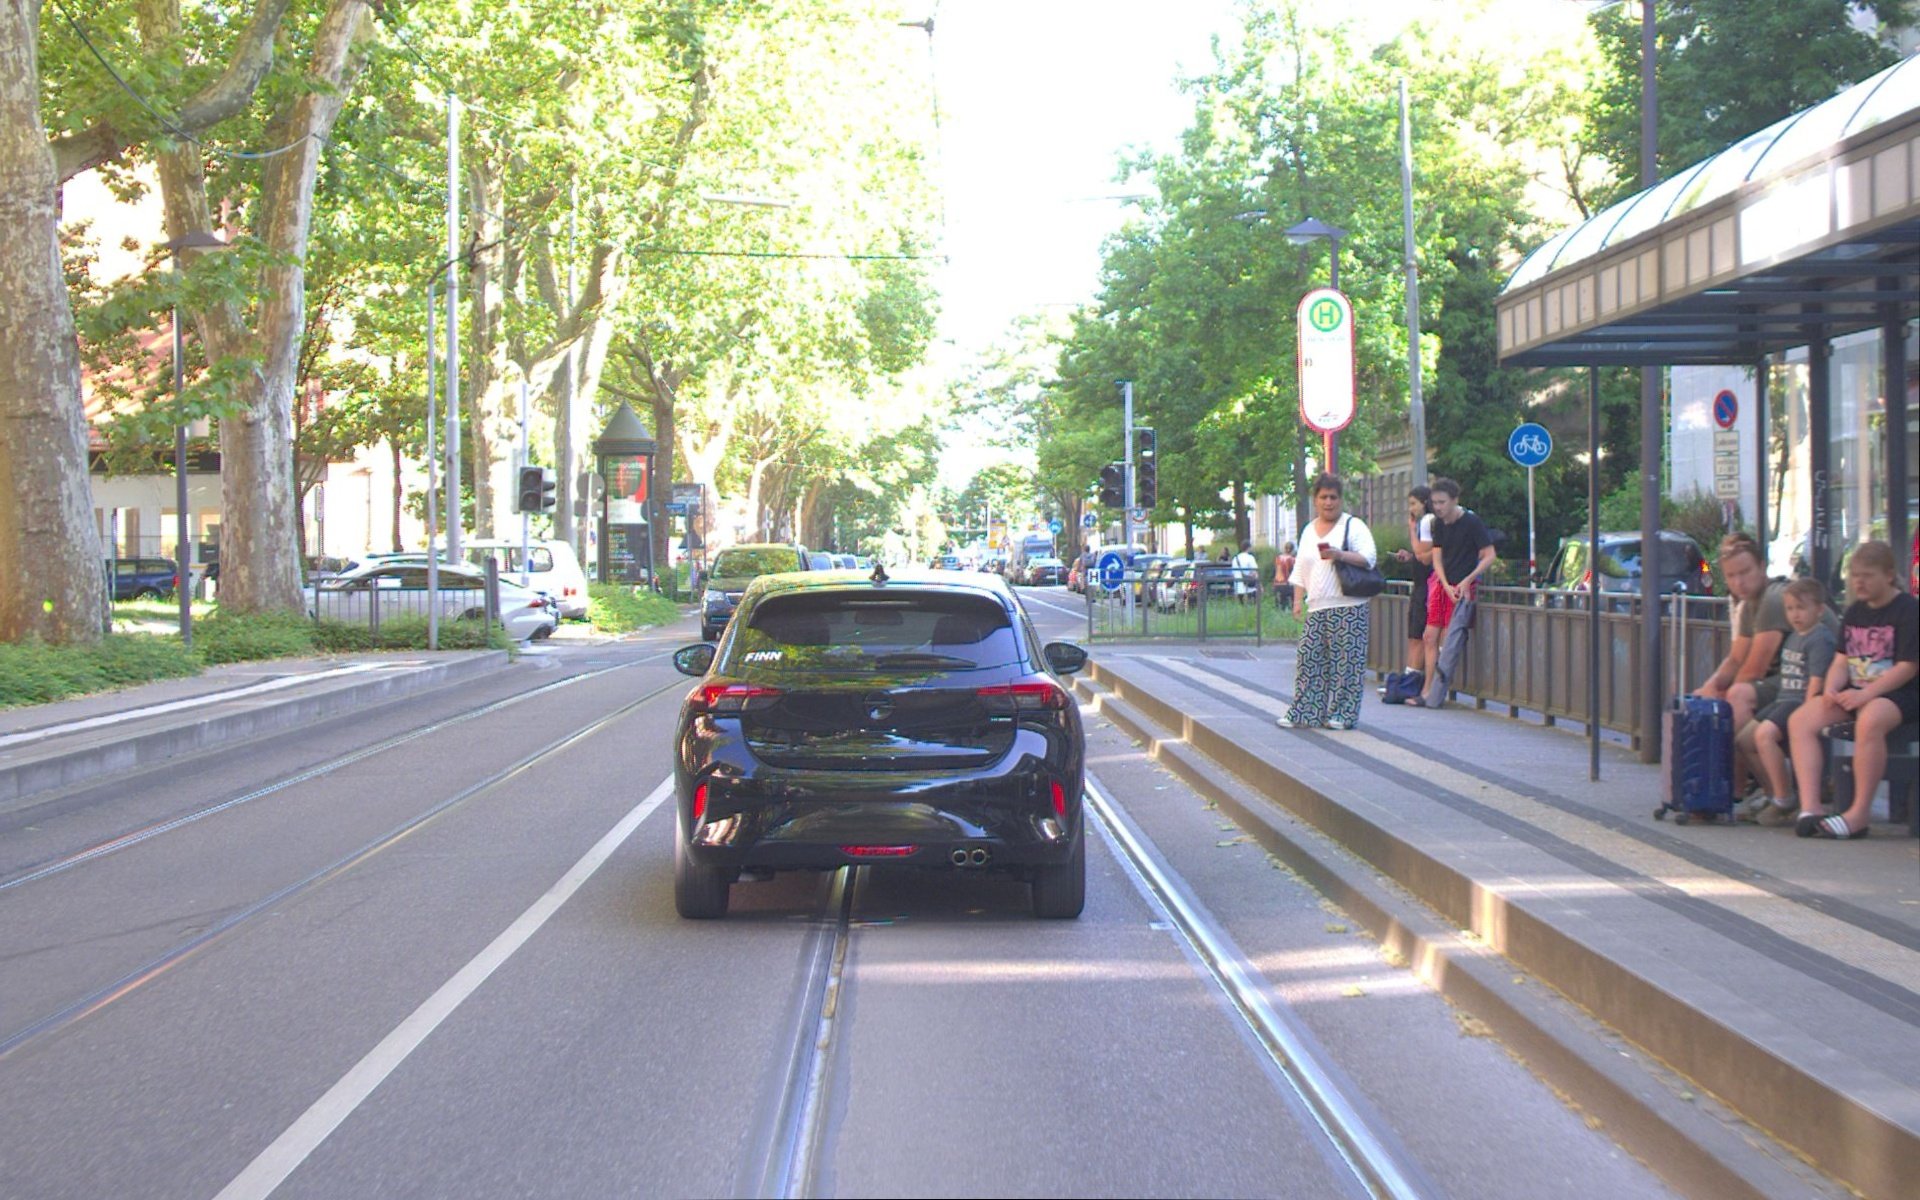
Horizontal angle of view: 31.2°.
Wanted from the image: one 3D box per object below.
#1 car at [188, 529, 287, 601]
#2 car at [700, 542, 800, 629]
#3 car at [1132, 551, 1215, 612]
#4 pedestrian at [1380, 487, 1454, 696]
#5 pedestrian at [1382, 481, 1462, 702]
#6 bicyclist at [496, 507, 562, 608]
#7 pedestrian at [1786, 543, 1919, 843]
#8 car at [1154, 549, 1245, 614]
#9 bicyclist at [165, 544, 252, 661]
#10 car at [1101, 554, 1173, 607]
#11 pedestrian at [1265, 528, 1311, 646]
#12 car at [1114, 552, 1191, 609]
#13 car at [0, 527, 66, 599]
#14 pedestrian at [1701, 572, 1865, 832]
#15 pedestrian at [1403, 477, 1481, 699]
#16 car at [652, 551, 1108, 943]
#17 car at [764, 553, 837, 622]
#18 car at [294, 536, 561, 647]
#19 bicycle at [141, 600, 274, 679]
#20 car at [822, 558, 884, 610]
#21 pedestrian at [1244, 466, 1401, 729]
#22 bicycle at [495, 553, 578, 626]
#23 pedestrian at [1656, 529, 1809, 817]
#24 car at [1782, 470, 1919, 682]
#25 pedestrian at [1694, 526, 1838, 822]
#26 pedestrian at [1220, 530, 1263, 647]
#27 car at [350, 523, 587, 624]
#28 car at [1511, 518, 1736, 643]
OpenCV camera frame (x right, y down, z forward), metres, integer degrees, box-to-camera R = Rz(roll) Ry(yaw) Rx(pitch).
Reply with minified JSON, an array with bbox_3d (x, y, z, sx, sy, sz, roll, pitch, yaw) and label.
[{"bbox_3d":[-20.588,-0.989,98.110,1.993,2.007,4.000,1,0,-1],"label":"car"},{"bbox_3d":[-3.818,-0.269,63.009,1.745,1.539,4.000,1,0,-2],"label":"car"},{"bbox_3d":[5.862,-0.524,94.860,1.993,1.627,4.000,1,0,-1],"label":"car"},{"bbox_3d":[3.768,-0.068,28.388,0.531,1.703,0.596,1,0,2],"label":"pedestrian"},{"bbox_3d":[3.618,-0.065,26.958,0.531,1.703,0.752,1,0,2],"label":"pedestrian"},{"bbox_3d":[-7.391,-0.726,58.998,0.941,1.697,1.153,1,0,2],"label":"bicyclist"},{"bbox_3d":[3.796,0.382,14.336,0.534,1.226,0.510,1,0,-5],"label":"pedestrian"},{"bbox_3d":[6.125,-0.478,88.366,1.993,1.627,4.000,1,0,-1],"label":"car"},{"bbox_3d":[-12.298,0.036,56.273,0.955,1.870,1.206,1,0,13],"label":"bicyclist"},{"bbox_3d":[5.512,-0.615,107.717,1.993,1.627,4.000,1,0,-1],"label":"car"},{"bbox_3d":[5.686,-0.227,59.621,0.675,2.007,0.701,2,1,11],"label":"pedestrian"},{"bbox_3d":[5.658,-0.571,101.422,1.993,1.627,4.000,1,0,-1],"label":"car"},{"bbox_3d":[-27.026,-1.060,98.132,1.993,2.007,4.000,1,0,-1],"label":"car"},{"bbox_3d":[3.550,0.431,14.849,0.534,1.096,0.551,1,0,-5],"label":"pedestrian"},{"bbox_3d":[3.875,-0.099,27.680,0.531,1.757,0.661,1,0,2],"label":"pedestrian"},{"bbox_3d":[-0.404,0.557,15.246,1.759,1.503,3.683,-1,0,-3],"label":"car"},{"bbox_3d":[-4.020,-0.314,87.018,1.785,1.687,4.000,1,0,-2],"label":"car"},{"bbox_3d":[-8.447,-0.138,54.731,4.113,1.695,1.884,0,0,-8],"label":"car"},{"bbox_3d":[-12.295,0.623,56.268,0.955,1.236,2.976,1,0,13],"label":"bicycle"},{"bbox_3d":[-3.608,-0.543,115.245,1.993,1.687,4.000,1,0,-2],"label":"car"},{"bbox_3d":[2.407,-0.019,22.789,0.751,1.703,0.762,1,0,34],"label":"pedestrian"},{"bbox_3d":[-7.363,-0.190,59.913,0.955,1.236,2.977,1,0,2],"label":"bicycle"},{"bbox_3d":[3.558,0.329,15.853,0.534,1.300,0.551,1,0,-5],"label":"pedestrian"},{"bbox_3d":[8.982,-0.208,31.167,1.993,1.791,4.000,1,0,-2],"label":"car"},{"bbox_3d":[3.597,0.325,15.362,0.502,1.300,0.429,1,0,-5],"label":"pedestrian"},{"bbox_3d":[4.912,-0.212,59.988,0.675,2.007,0.701,2,1,5],"label":"pedestrian"},{"bbox_3d":[-9.344,-0.495,65.434,4.383,1.845,2.000,0,0,-8],"label":"car"},{"bbox_3d":[8.259,-0.250,43.131,1.993,1.481,4.000,1,0,-1],"label":"car"}]
